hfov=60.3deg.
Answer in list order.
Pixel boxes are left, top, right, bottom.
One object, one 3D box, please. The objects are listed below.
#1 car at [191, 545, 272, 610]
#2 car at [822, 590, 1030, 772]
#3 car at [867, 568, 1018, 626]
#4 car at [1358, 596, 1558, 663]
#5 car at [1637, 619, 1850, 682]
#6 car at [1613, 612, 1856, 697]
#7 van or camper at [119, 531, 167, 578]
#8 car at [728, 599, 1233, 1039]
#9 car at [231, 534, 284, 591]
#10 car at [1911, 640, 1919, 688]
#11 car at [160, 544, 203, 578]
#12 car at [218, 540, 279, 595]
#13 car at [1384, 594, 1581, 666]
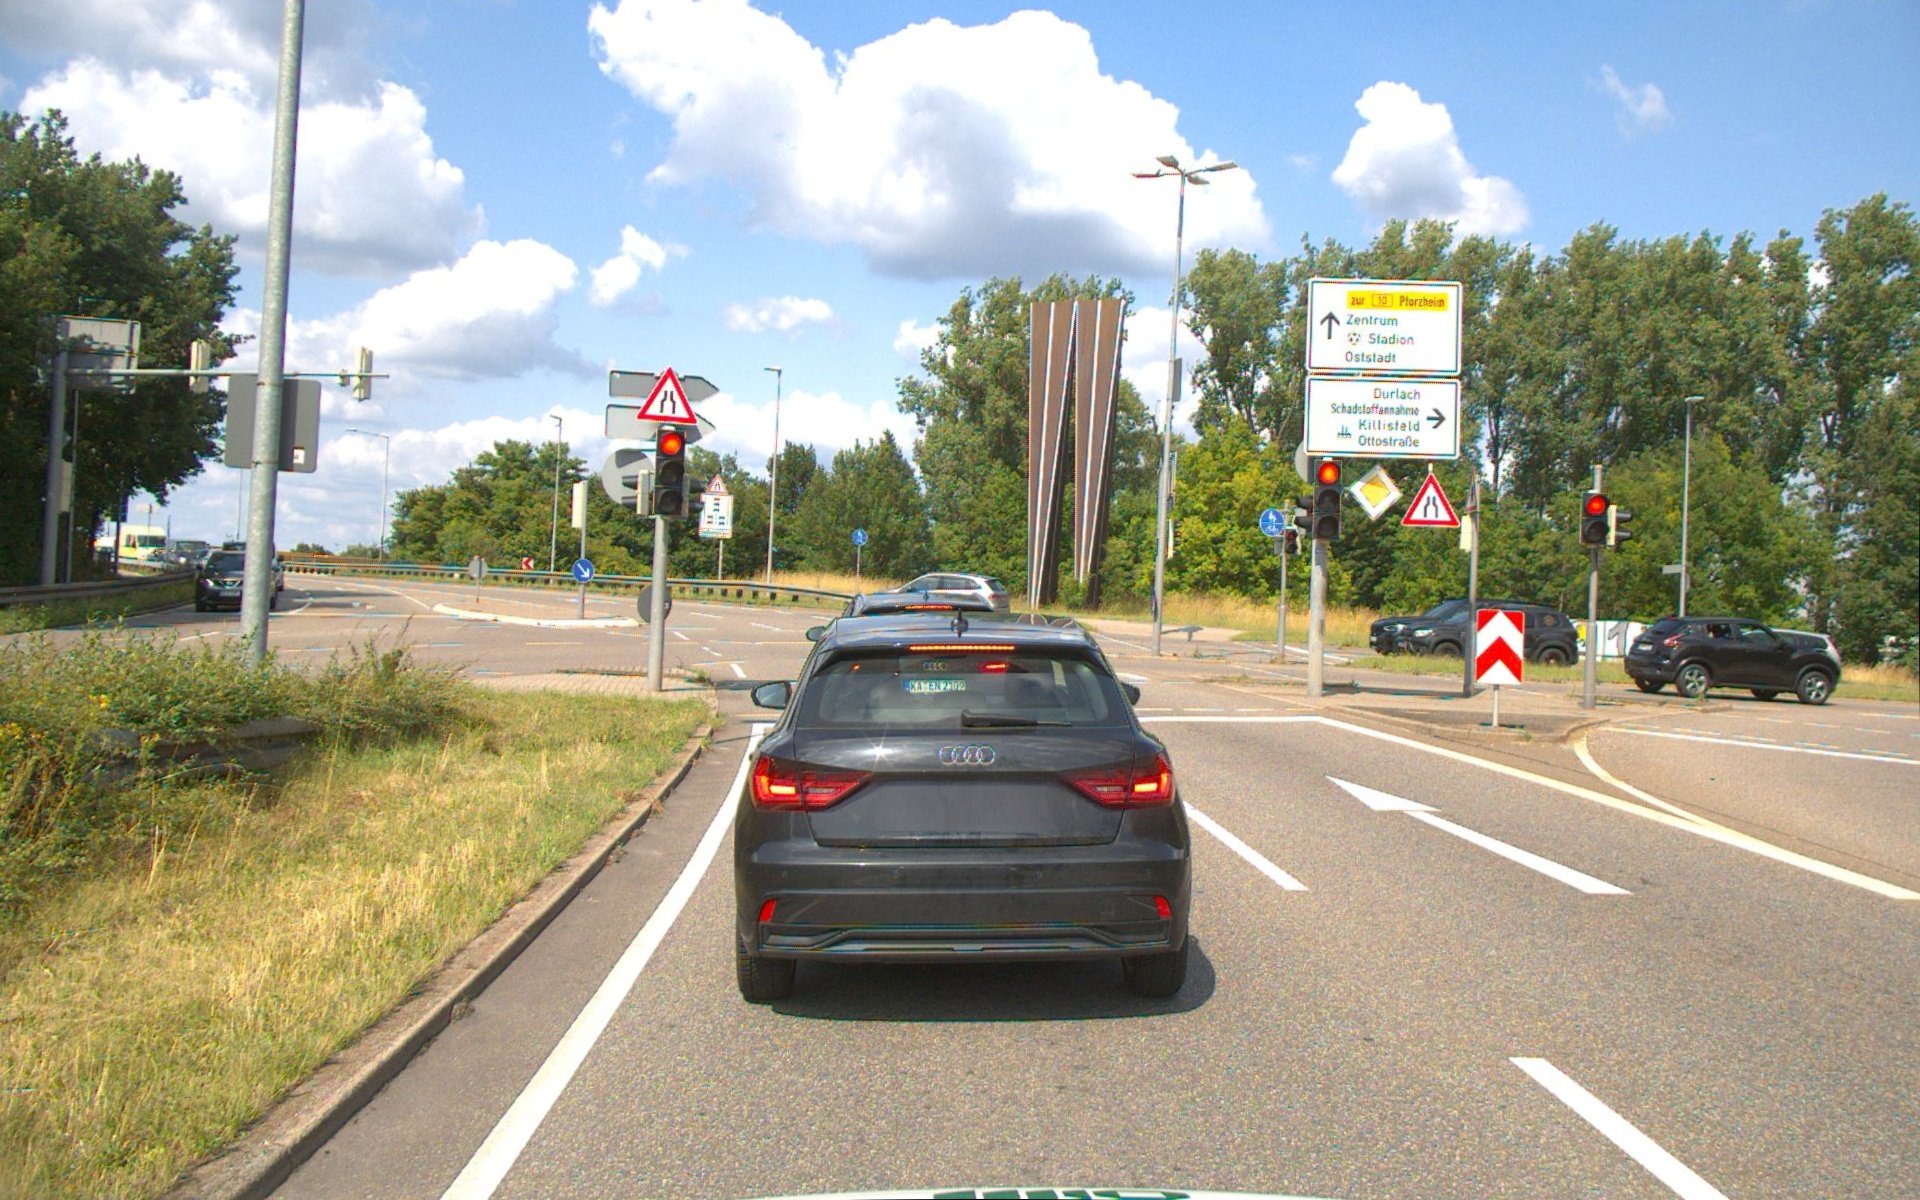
[{"bbox_3d":[-19.881,-0.581,45.257,1.813,1.646,3.974,2,-1,-21],"label":"car"},{"bbox_3d":[-0.433,0.642,15.326,1.692,1.448,3.841,0,1,-5],"label":"car"},{"bbox_3d":[-0.497,-0.096,49.194,4.020,1.522,2.001,2,0,17],"label":"car"},{"bbox_3d":[13.174,0.768,43.928,4.750,1.572,1.736,2,0,-2],"label":"car"},{"bbox_3d":[19.070,1.218,40.345,4.384,1.343,1.735,2,0,-4],"label":"car"},{"bbox_3d":[15.135,1.057,32.407,3.885,1.443,1.949,2,0,-10],"label":"car"},{"bbox_3d":[-50.290,-2.809,101.712,1.974,2.730,6.788,2,0,-32],"label":"van or camper"},{"bbox_3d":[0.040,0.729,7.533,1.691,1.429,3.999,0,1,-1],"label":"car"},{"bbox_3d":[-28.216,-1.509,66.401,1.819,2.137,4.293,2,0,-24],"label":"car"},{"bbox_3d":[28.408,1.836,44.755,4.404,1.304,1.736,2,0,-4],"label":"car"},{"bbox_3d":[-42.135,-2.108,89.499,1.823,1.735,4.286,2,0,-29],"label":"car"},{"bbox_3d":[-25.370,-1.159,59.100,1.817,1.833,4.299,2,0,-22],"label":"car"},{"bbox_3d":[12.609,0.711,40.067,4.182,1.572,1.736,2,0,-2],"label":"car"}]
